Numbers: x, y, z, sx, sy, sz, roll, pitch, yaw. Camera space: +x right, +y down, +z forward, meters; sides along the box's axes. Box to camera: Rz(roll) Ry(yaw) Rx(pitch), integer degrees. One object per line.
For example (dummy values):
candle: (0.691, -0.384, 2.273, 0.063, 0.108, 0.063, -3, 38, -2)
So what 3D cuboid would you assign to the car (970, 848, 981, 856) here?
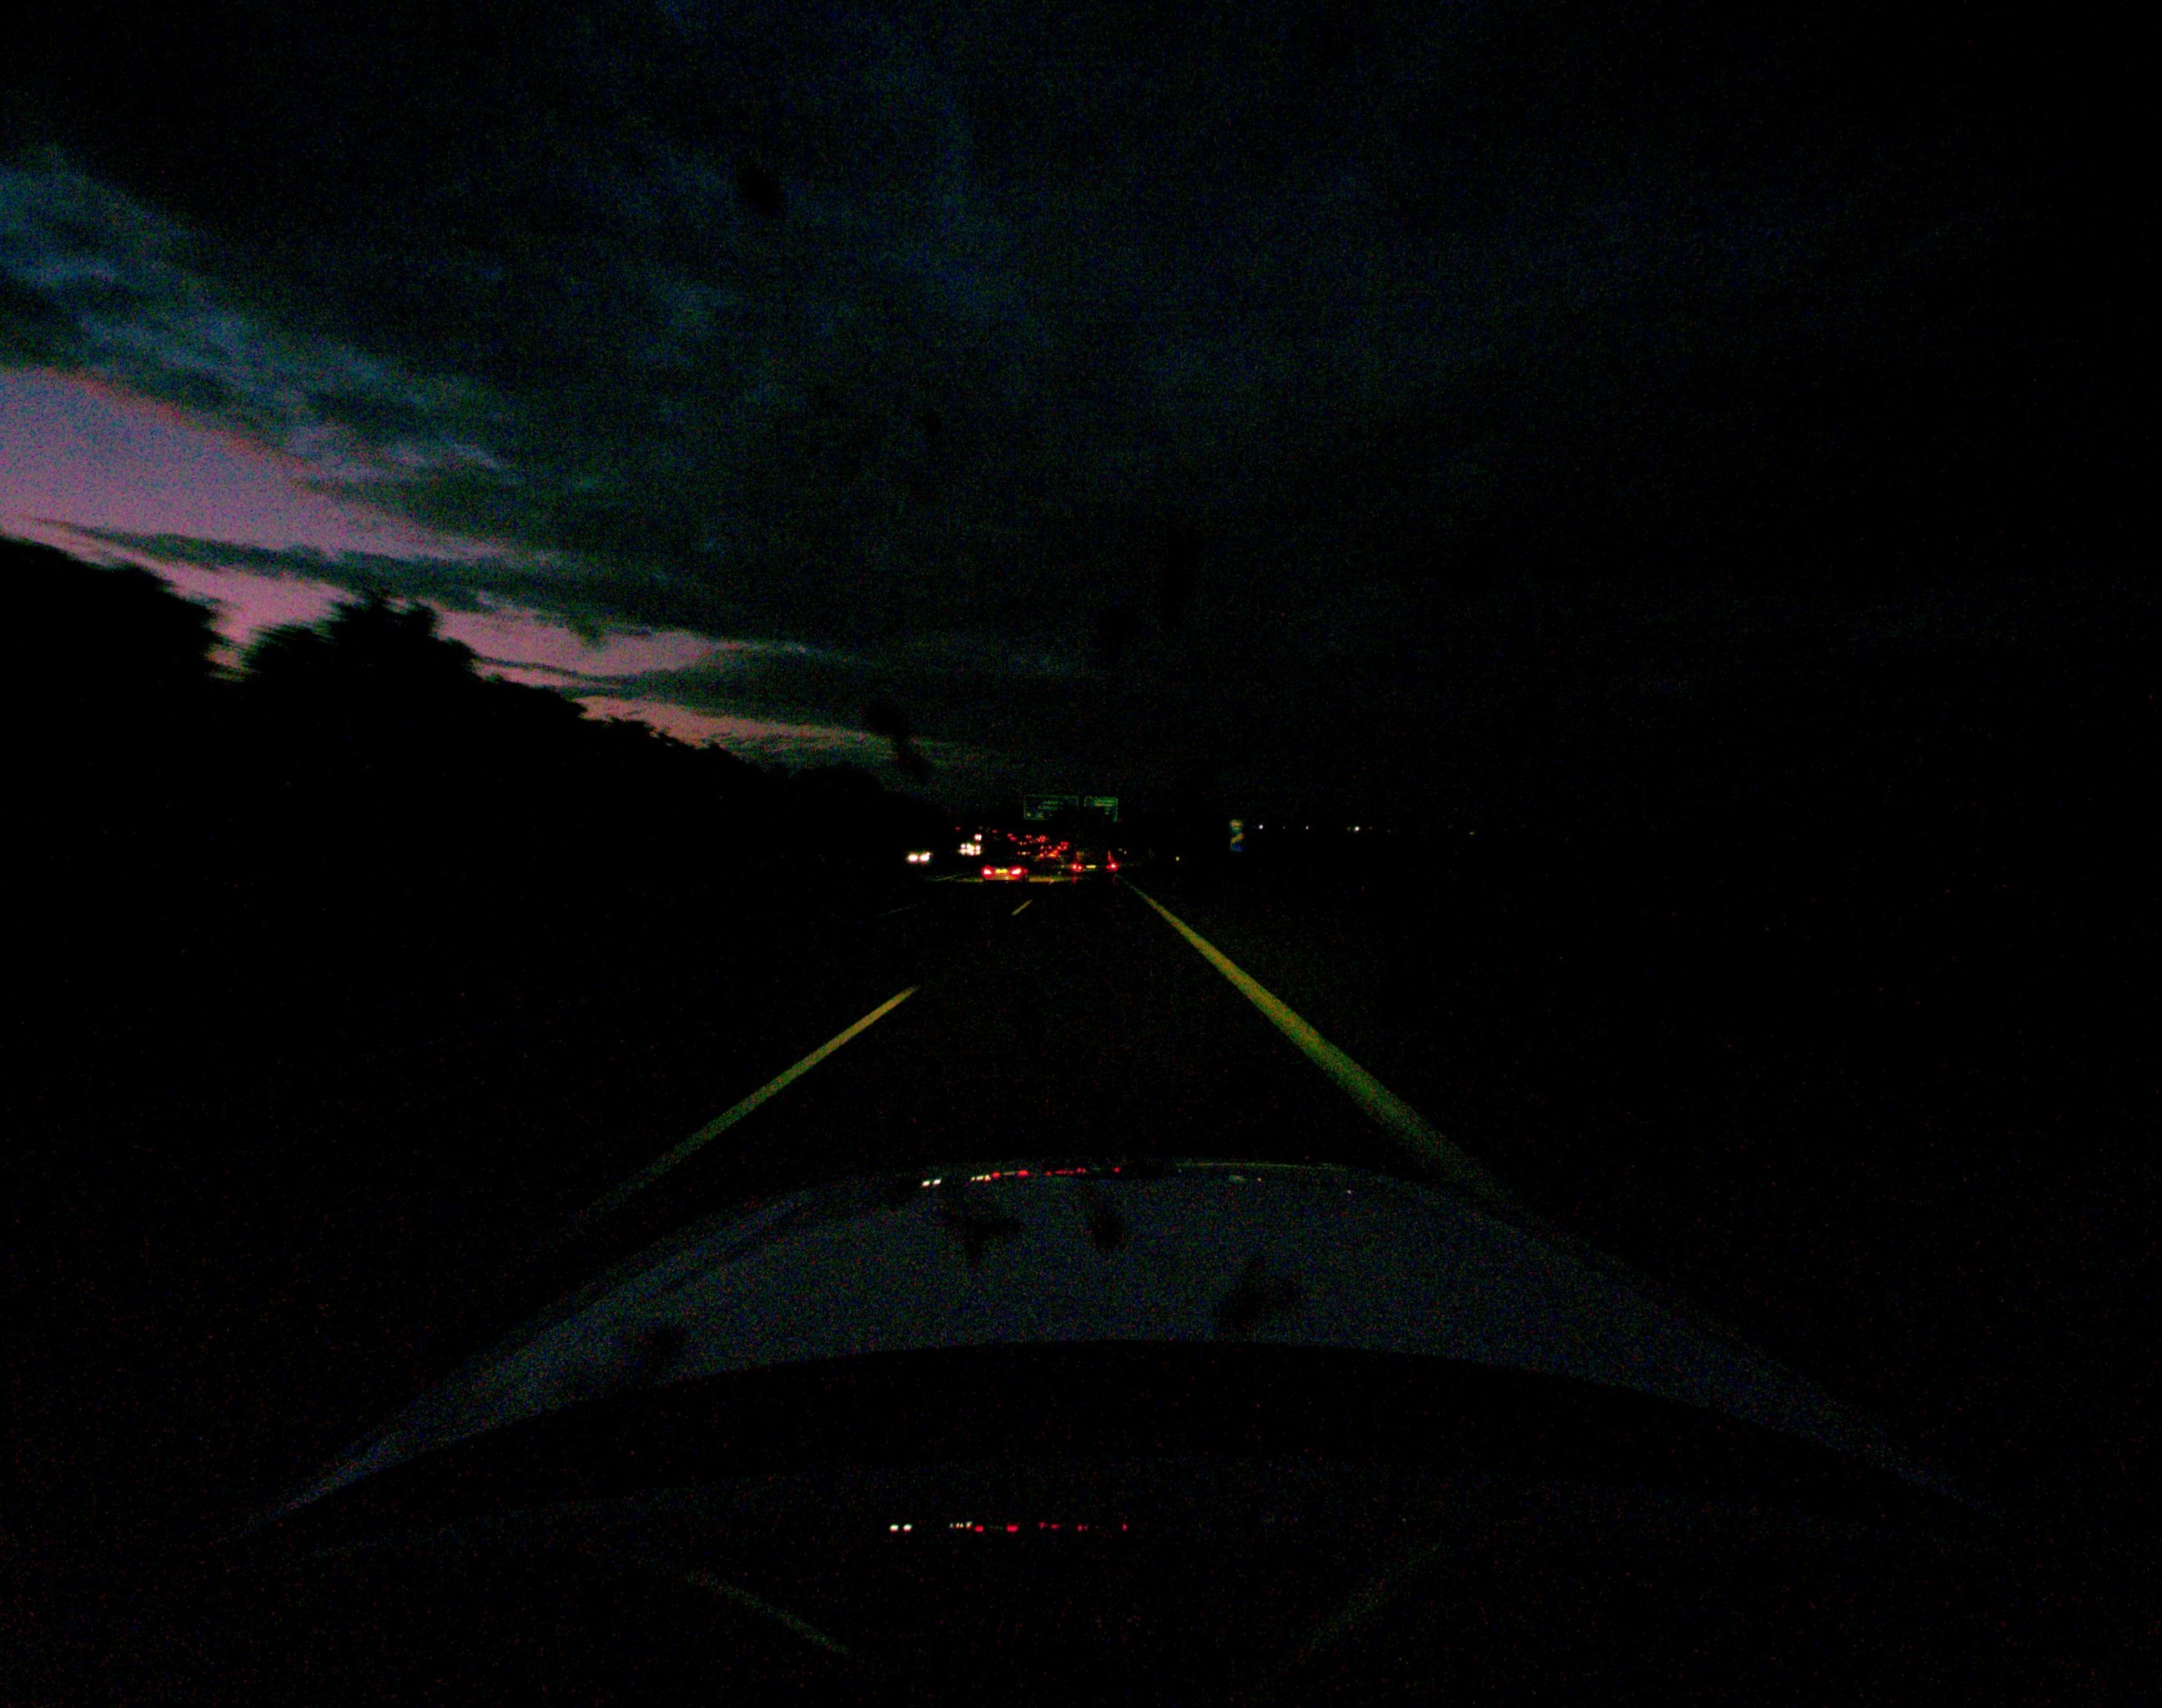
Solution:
car: (-24.373, -0.501, 188.154, 1.870, 1.893, 5.055, 0, -1, -1)

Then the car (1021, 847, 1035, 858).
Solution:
car: (-8.020, -0.230, 122.740, 1.756, 1.575, 4.575, 0, -1, 0)

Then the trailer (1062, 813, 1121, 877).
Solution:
trailer: (0.480, -0.704, 60.600, 3.541, 4.116, 15.051, -1, 1, -2)

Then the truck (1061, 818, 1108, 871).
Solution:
truck: (0.230, -0.813, 67.438, 3.542, 4.090, 6.146, -1, 1, -2)

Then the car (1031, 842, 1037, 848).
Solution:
car: (-15.138, -2.920, 261.303, 1.989, 1.622, 3.995, 0, -1, -3)

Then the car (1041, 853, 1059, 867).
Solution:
car: (-3.722, 0.713, 99.547, 2.059, 1.686, 4.574, 0, -1, -1)

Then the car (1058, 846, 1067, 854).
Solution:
car: (-3.977, -0.872, 175.224, 1.987, 1.534, 3.999, 0, -1, 0)

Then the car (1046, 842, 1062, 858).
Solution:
car: (-4.022, -0.560, 119.044, 1.991, 2.380, 3.990, 0, -1, -7)

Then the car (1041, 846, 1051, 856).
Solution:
car: (-7.357, -0.592, 170.109, 1.988, 2.014, 3.997, 0, -1, -1)

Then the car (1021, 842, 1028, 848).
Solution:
car: (-17.132, -2.727, 247.701, 1.987, 1.622, 3.999, 0, -1, 0)

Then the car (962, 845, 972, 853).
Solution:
car: (-29.859, -1.291, 213.403, 1.989, 1.893, 4.674, 0, -1, -3)

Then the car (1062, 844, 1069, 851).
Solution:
car: (-4.291, -1.846, 224.350, 1.988, 1.978, 3.997, 0, -1, -2)

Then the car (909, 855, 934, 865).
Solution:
car: (-19.349, 0.749, 99.101, 2.053, 1.226, 5.233, 0, -1, 0)

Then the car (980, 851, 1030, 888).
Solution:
car: (-3.460, 0.723, 37.947, 1.901, 1.614, 4.802, 0, -1, -1)
